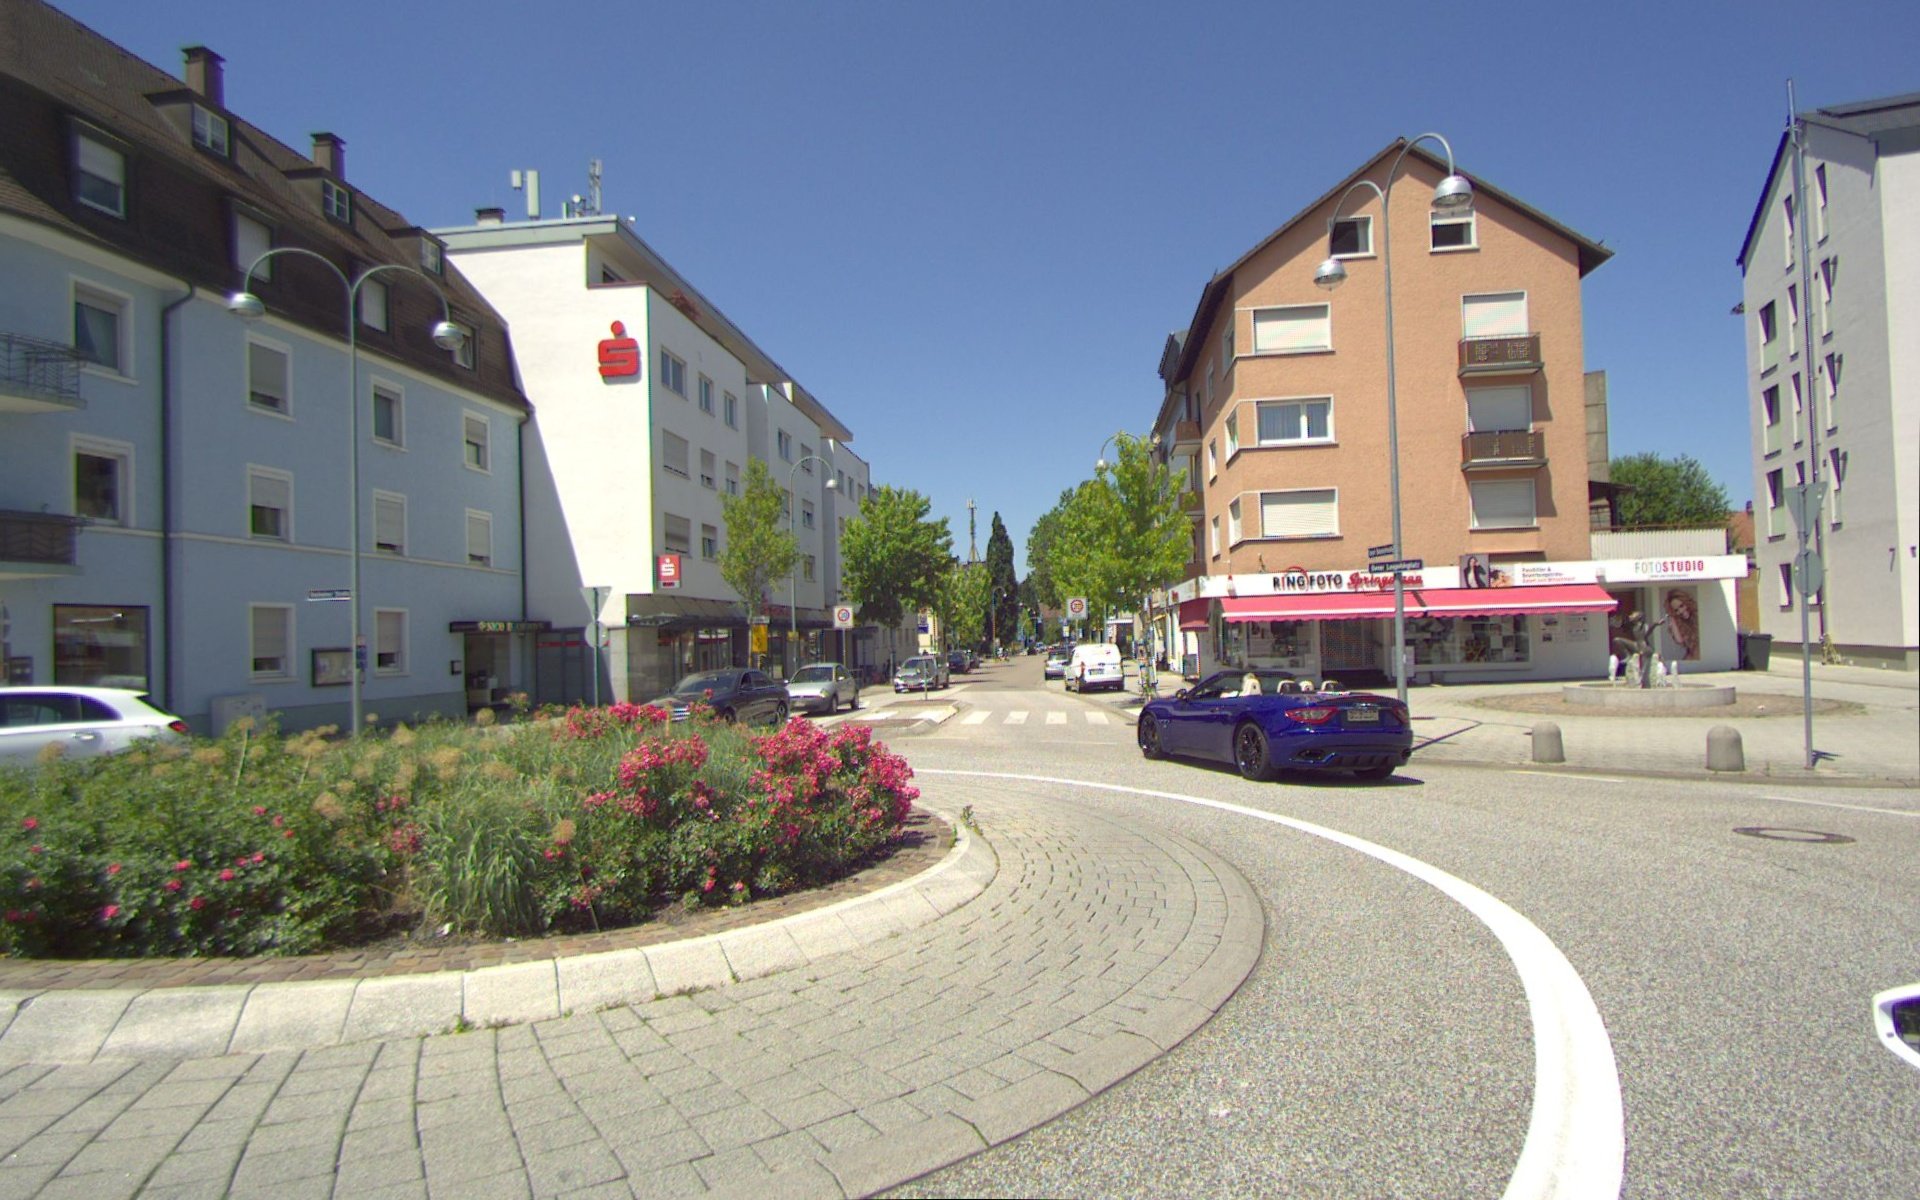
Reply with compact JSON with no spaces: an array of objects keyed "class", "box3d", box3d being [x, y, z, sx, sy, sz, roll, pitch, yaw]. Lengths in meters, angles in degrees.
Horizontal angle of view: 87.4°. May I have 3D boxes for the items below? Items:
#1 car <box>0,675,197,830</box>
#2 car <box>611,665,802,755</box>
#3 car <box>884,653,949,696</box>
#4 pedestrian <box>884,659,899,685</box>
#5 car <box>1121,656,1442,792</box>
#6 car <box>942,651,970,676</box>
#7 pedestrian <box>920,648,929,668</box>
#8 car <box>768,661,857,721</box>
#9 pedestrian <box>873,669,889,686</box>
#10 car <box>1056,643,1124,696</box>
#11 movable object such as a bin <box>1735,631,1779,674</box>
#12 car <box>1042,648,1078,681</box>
[{"class":"car","box3d":[-10.353,1.623,9.759,1.902,1.399,4.274,-8,-4,34]},{"class":"car","box3d":[-5.192,2.246,21.344,1.960,1.497,4.712,-4,-3,12]},{"class":"car","box3d":[-1.787,3.151,43.121,1.960,1.613,5.003,-2,-3,7]},{"class":"pedestrian","box3d":[-3.725,3.928,54.687,0.558,1.390,0.667,-3,-3,16]},{"class":"car","box3d":[3.968,1.489,13.411,1.949,1.416,4.615,0,-3,-14]},{"class":"car","box3d":[-0.303,4.795,76.302,1.699,1.763,4.395,1,-2,5]},{"class":"pedestrian","box3d":[-3.179,5.185,89.985,0.646,1.703,0.630,-3,0,-11]},{"class":"car","box3d":[-4.160,2.568,28.945,1.671,1.477,3.792,-3,-3,4]},{"class":"pedestrian","box3d":[-4.356,4.290,55.683,0.653,0.869,0.733,-3,-6,16]},{"class":"car","box3d":[4.739,2.521,37.084,1.719,1.746,3.910,-3,-3,-4]},{"class":"movable object such as a bin","box3d":[22.814,1.494,28.766,0.746,1.170,0.773,-3,0,24]},{"class":"car","box3d":[5.374,3.426,53.689,1.712,1.570,3.947,-3,-4,7]}]
